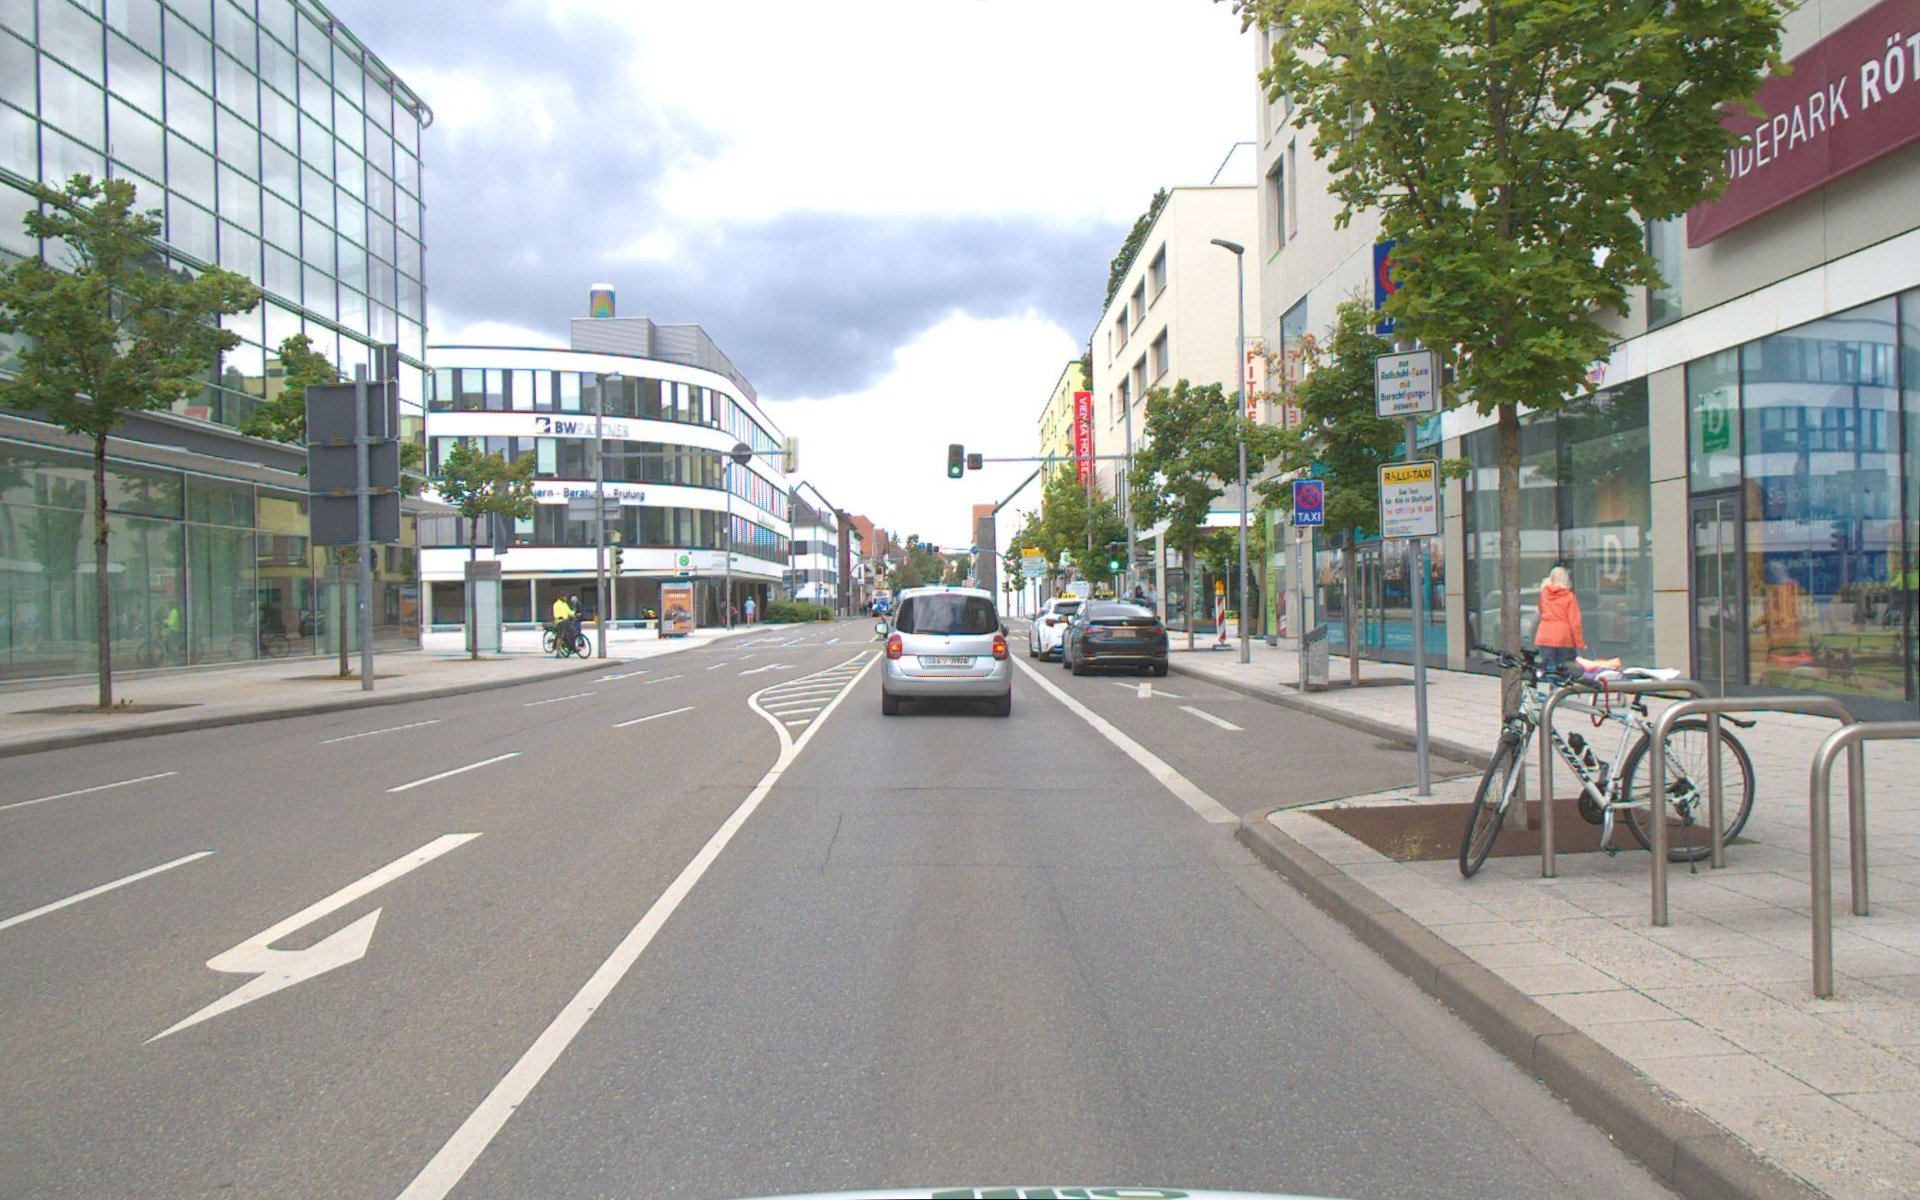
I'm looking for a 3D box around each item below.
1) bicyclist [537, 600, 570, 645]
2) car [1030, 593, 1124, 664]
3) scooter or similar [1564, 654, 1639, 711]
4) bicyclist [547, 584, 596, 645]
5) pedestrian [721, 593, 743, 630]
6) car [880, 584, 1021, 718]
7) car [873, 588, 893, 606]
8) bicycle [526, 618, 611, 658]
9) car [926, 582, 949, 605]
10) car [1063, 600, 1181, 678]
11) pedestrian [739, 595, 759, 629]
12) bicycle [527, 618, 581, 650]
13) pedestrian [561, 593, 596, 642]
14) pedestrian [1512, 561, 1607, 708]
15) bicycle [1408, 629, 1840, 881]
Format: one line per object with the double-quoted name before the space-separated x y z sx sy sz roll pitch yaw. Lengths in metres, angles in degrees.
"bicyclist" -12.306 0.669 50.078 0.820 1.350 0.644 -1 0 -34
"car" 2.694 0.623 38.860 1.839 1.535 3.999 1 0 -1
"scooter or similar" 7.029 0.898 18.152 0.539 0.555 0.642 -4 0 -1
"bicyclist" -10.902 0.408 46.442 1.000 1.689 0.919 2 -1 -41
"pedestrian" -11.700 0.597 84.777 0.941 1.865 1.250 -1 0 -1
"car" -0.200 0.611 21.774 1.636 1.581 3.639 1 0 -3
"car" -8.854 -0.348 191.219 2.126 2.049 4.257 -1 0 -1
"bicycle" -11.045 1.057 46.579 1.000 1.036 3.084 2 -1 -41
"car" -2.091 -0.597 155.296 2.126 2.049 4.257 -1 0 -1
"car" 3.090 0.713 32.339 1.839 1.358 3.999 1 0 -1
"pedestrian" -11.851 0.657 92.924 0.941 1.865 1.250 -1 0 -1
"bicycle" -12.302 1.021 50.068 0.819 0.914 2.496 -1 0 -33
"pedestrian" -14.686 0.673 63.703 1.223 1.865 0.962 -1 0 -9
"pedestrian" 6.847 0.380 18.918 0.696 1.602 0.812 -4 0 -1
"bicycle" 3.206 0.726 8.090 1.789 1.093 0.752 -2 0 -3
